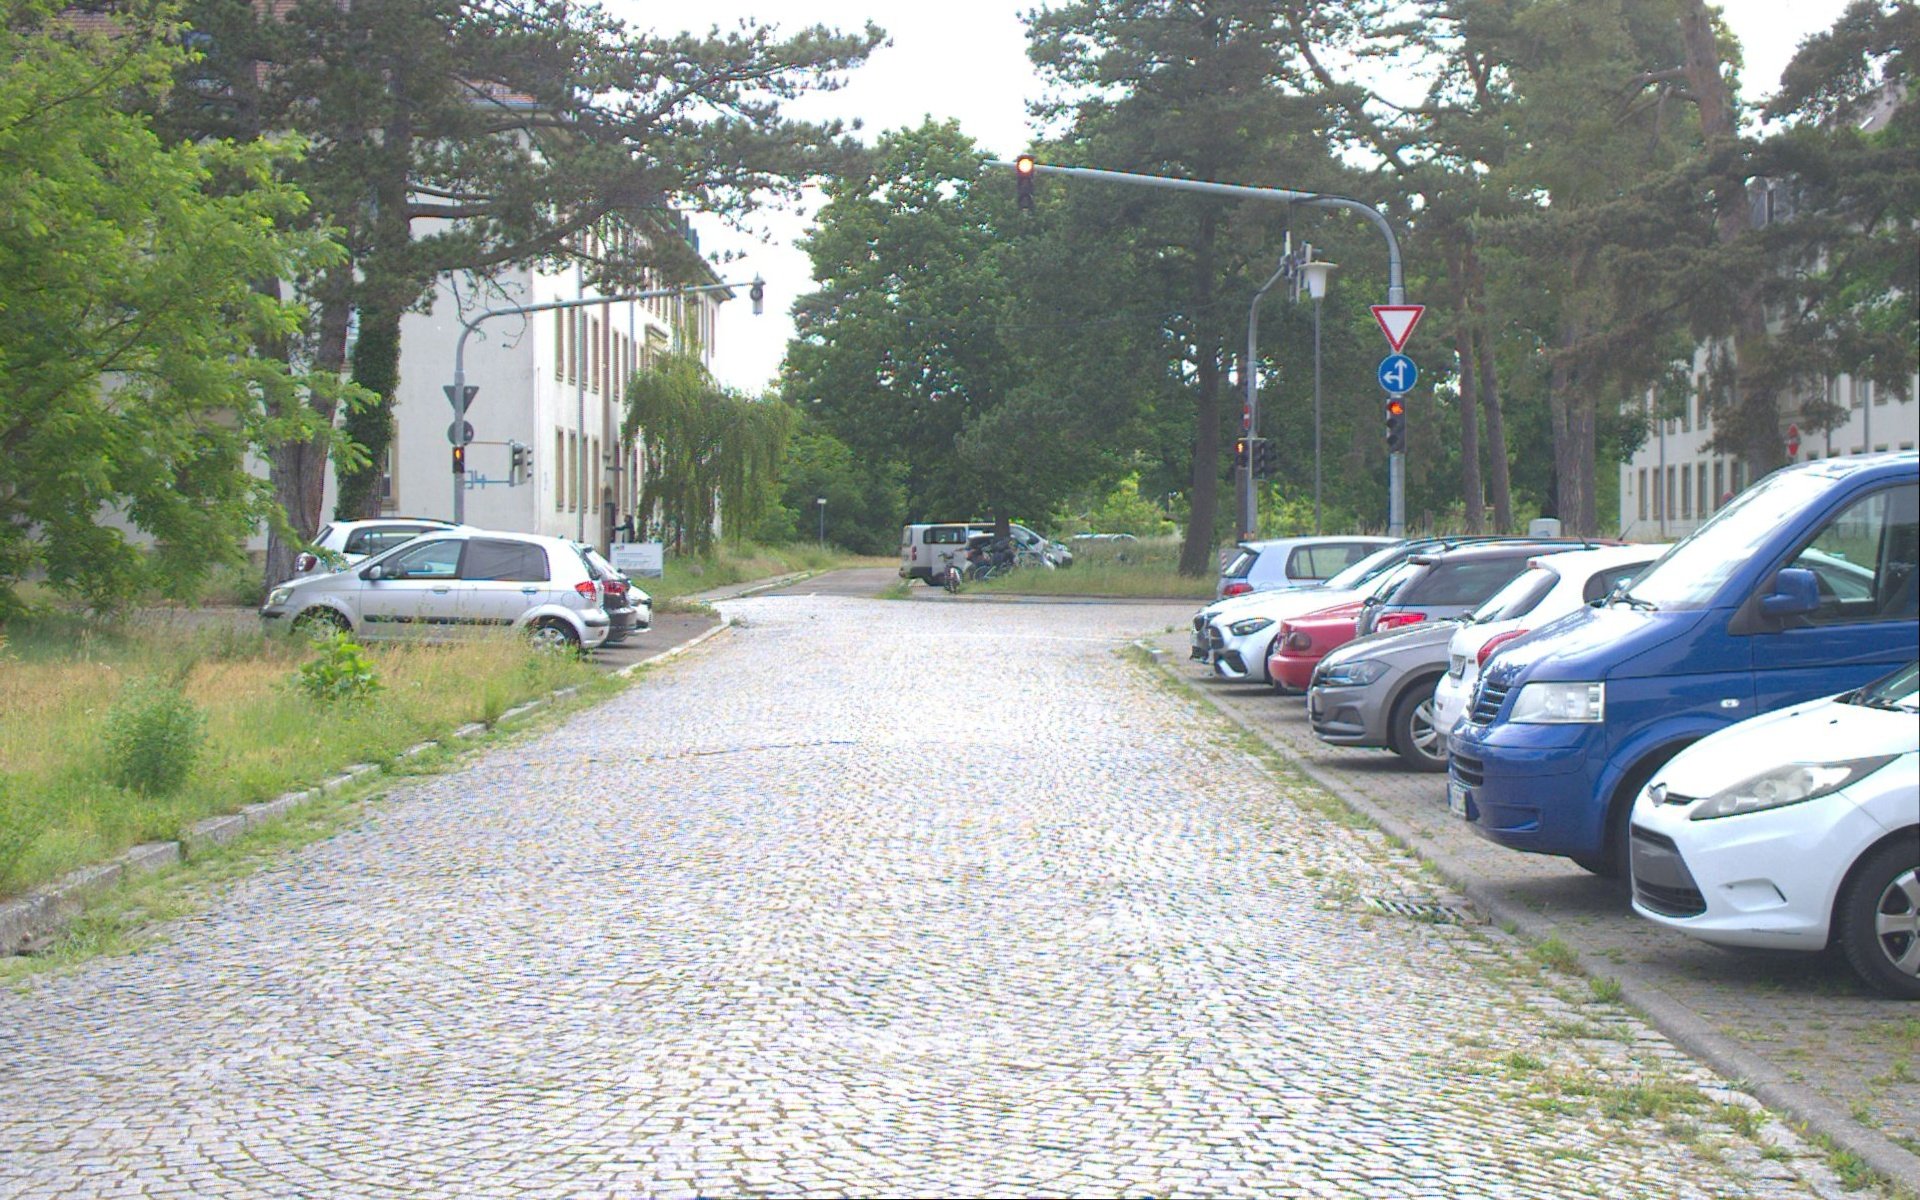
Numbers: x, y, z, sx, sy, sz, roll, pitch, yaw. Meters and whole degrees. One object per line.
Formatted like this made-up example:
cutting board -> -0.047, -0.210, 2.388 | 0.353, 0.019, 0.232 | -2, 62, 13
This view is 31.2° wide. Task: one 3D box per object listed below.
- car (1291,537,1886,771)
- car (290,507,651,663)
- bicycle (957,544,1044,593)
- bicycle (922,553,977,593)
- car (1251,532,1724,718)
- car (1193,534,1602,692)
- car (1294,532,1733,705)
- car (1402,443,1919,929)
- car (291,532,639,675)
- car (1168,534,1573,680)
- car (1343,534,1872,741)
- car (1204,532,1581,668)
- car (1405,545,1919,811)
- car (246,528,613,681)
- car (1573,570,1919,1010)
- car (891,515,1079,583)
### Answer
car -> 4.164, 0.339, 23.101 | 3.671, 1.444, 1.524 | -1, 1, -2
car -> -6.107, -0.194, 43.234 | 4.262, 1.834, 1.744 | -1, 1, 0
bicycle -> 1.030, -0.815, 87.782 | 2.136, 1.210, 0.622 | 1, 1, -4
bicycle -> -0.266, -0.658, 83.723 | 0.620, 0.941, 1.663 | 0, 1, -28
car -> 4.371, 0.191, 28.792 | 3.671, 1.444, 1.524 | -1, 1, -2
car -> 4.206, 0.106, 33.331 | 3.671, 1.416, 1.524 | -1, 1, -4
car -> 4.955, 0.152, 31.073 | 3.671, 1.444, 1.524 | -1, 1, -2
car -> 4.471, 0.304, 15.039 | 4.754, 1.948, 1.931 | -1, 1, -2
car -> -5.749, 0.026, 40.247 | 3.821, 1.567, 1.564 | -1, 1, 0
car -> 4.285, 0.055, 36.185 | 3.967, 1.416, 1.620 | -1, 1, -4
car -> 4.858, 0.266, 26.084 | 3.671, 1.444, 1.524 | -1, 1, -2
car -> 4.849, -0.014, 38.832 | 3.967, 1.416, 1.620 | -1, 1, -4
car -> 4.595, 0.427, 20.320 | 3.671, 1.444, 1.524 | -1, 1, -2
car -> -5.785, 0.035, 37.830 | 3.821, 1.567, 1.564 | -1, 1, -3
car -> 4.233, 0.606, 12.452 | 3.671, 1.444, 1.615 | -1, 1, -2
car -> 0.757, -1.578, 105.685 | 5.444, 2.007, 2.269 | 1, 1, -9
